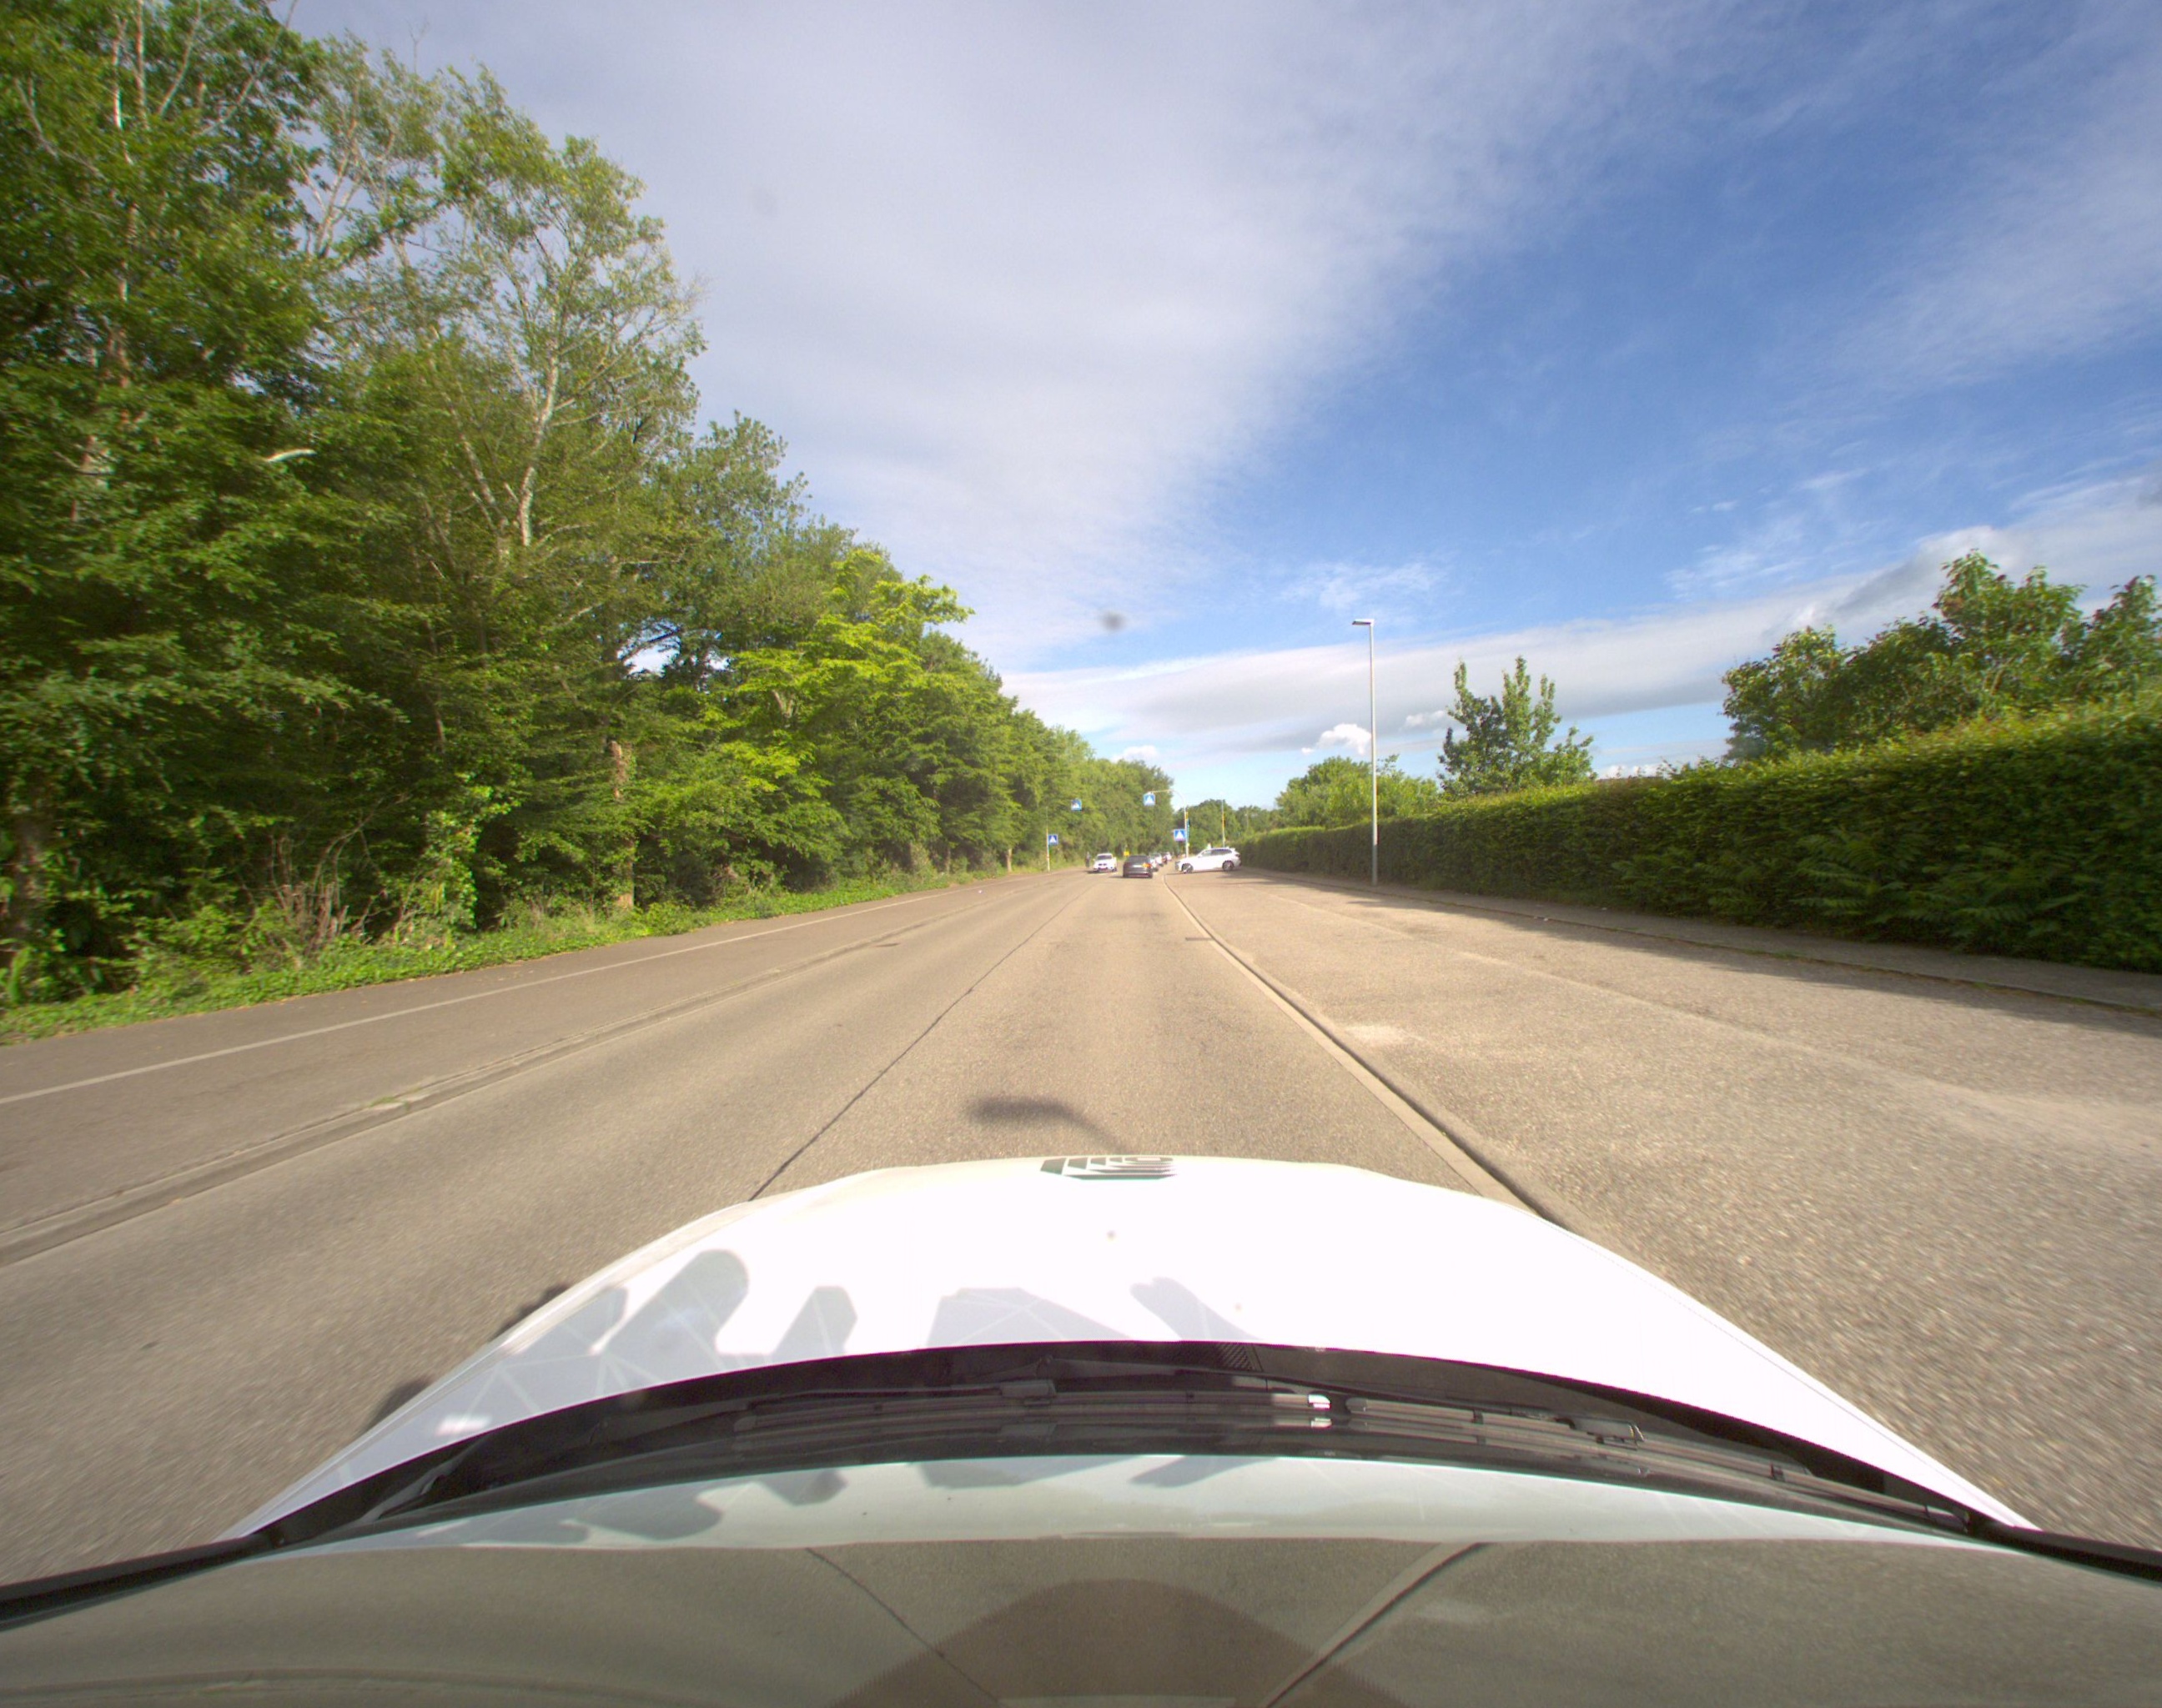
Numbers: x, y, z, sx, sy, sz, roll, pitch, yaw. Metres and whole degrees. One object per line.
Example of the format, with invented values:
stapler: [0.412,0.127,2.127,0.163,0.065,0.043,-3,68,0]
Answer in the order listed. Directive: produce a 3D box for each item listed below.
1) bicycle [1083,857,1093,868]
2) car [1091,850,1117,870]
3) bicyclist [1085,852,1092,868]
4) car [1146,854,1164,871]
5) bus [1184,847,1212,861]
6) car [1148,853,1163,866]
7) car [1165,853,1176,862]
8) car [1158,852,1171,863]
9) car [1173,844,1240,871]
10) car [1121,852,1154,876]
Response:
bicycle: [0.725,0.894,82.514,0.659,1.097,2.354,1,0,8]
car: [2.034,0.515,69.842,1.792,1.585,4.109,-2,-1,7]
bicyclist: [0.753,0.596,82.519,0.605,1.677,0.885,0,0,8]
car: [6.356,0.734,69.965,1.487,1.366,3.268,-2,0,6]
bus: [23.440,-0.008,163.036,5.340,2.747,2.071,-2,0,4]
car: [8.043,0.552,87.851,1.486,1.304,3.270,-2,0,8]
car: [14.693,0.593,133.258,1.485,1.366,3.272,-2,0,11]
car: [11.002,0.489,107.178,1.487,1.366,3.269,-2,0,8]
car: [8.887,0.237,57.818,4.562,1.699,1.767,-2,-1,7]
car: [3.506,0.570,50.869,1.958,1.434,4.339,0,0,3]
